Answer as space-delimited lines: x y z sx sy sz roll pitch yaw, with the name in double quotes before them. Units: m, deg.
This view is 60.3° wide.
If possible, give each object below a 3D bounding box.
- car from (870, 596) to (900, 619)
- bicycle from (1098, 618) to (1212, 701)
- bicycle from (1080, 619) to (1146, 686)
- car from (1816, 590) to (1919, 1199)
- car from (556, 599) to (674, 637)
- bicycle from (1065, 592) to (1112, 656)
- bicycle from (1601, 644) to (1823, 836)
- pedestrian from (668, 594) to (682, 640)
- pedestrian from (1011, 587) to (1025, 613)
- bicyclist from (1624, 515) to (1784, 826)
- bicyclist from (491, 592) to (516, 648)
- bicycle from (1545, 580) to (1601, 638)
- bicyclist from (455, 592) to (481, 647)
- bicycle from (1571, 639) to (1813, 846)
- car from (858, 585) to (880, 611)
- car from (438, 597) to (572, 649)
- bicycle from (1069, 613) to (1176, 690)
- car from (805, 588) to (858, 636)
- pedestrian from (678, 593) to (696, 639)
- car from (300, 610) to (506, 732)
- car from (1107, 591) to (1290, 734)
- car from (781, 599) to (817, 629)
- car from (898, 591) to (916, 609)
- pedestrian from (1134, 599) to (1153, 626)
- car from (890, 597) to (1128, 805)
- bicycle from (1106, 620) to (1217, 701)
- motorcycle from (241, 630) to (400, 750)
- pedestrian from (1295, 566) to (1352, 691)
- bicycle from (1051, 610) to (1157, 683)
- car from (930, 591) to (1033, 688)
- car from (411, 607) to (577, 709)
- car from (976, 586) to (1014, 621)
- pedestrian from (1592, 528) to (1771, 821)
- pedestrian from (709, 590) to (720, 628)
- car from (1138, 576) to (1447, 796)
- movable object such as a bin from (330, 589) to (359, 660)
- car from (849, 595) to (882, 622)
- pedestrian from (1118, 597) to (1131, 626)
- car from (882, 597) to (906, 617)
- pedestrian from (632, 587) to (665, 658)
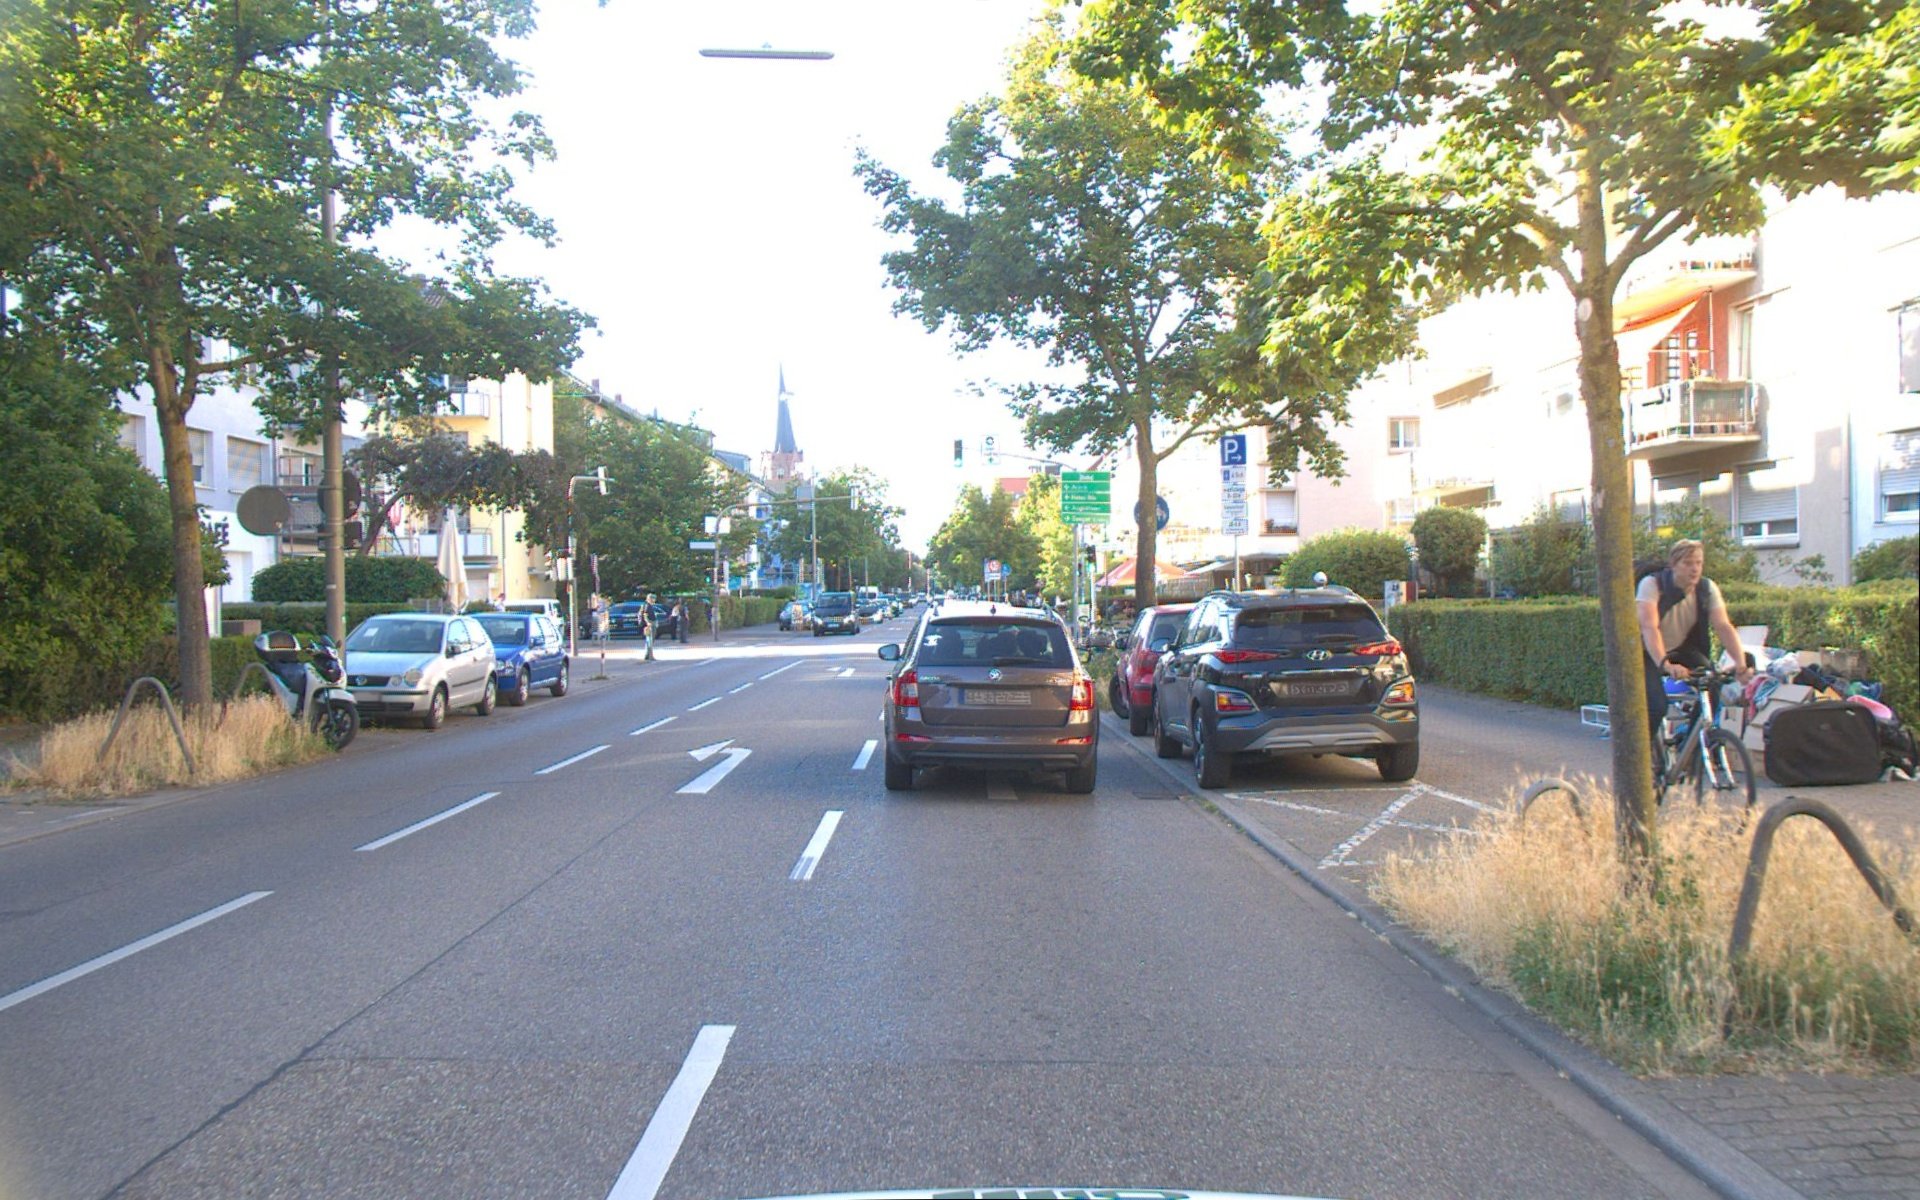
"car" -5.452 0.538 120.072 1.953 1.639 4.000 -1 0 0
"bicycle" 2.750 0.838 23.368 1.538 1.123 0.392 -1 0 0
"bicycle" 2.597 0.874 28.006 0.606 1.070 1.572 -1 0 25
"car" 3.112 0.698 2.140 1.674 1.506 4.267 -3 0 -1
"car" -14.366 0.743 69.011 4.540 1.562 1.861 0 0 -1
"bicycle" 2.465 0.455 31.979 0.492 1.167 1.956 -3 0 -6
"bicycle" 4.559 0.807 10.162 0.505 1.004 1.831 -1 0 -1
"pedestrian" -11.435 0.661 66.413 0.440 1.828 0.504 -1 0 0
"pedestrian" 3.923 0.025 111.429 0.661 1.734 0.800 -1 0 26
"bicyclist" 4.549 0.412 10.160 0.569 1.820 0.852 -1 0 -1
"bicyclist" -15.388 0.673 55.744 0.725 1.855 0.652 -1 0 -10
"bicycle" 13.142 0.197 35.500 0.512 1.204 1.796 -1 0 0
"bicyclist" -16.762 0.651 56.393 0.725 1.855 0.652 -1 0 -10
"bicycle" 4.467 0.819 10.271 0.546 1.094 2.079 -1 0 -1
"car" -8.868 -0.182 161.739 1.953 2.521 3.999 -1 0 -1
"car" -17.275 0.859 62.967 4.540 1.843 1.861 -1 0 -1
"bicycle" 2.630 0.833 26.756 1.651 1.127 0.517 -4 0 5
"car" -5.658 0.497 73.100 1.953 1.942 4.963 -3 0 -1
"pedestrian" -10.904 0.640 66.002 0.603 1.828 0.504 -1 0 0
"car" -7.563 0.909 22.820 1.561 1.496 3.803 1 0 -1
"car" 2.777 0.677 20.037 1.668 1.475 4.014 -3 0 1
"car" -8.272 0.727 85.144 1.491 1.482 3.584 -1 0 -1
"car" -6.337 0.031 197.486 1.953 2.049 4.000 -1 0 0
"pedestrian" 8.279 0.563 74.576 0.714 1.219 0.855 -1 0 0
"car" 0.318 0.736 14.227 1.737 1.515 4.310 0 0 -1
"bicycle" 2.909 0.872 23.958 1.538 1.123 0.501 -1 0 0
"motorcycle" -7.393 1.012 19.070 2.014 1.287 0.764 -1 0 38
"pedestrian" 5.342 0.409 24.340 0.648 1.779 0.773 -3 0 5
"bicycle" 2.588 0.831 29.716 1.796 1.178 0.684 -4 0 5
"car" 0.366 0.664 29.763 1.701 1.598 4.000 1 0 0
"car" -7.616 0.899 27.405 1.615 1.544 4.073 0 0 -1
"car" 1.917 0.187 89.571 1.952 1.803 4.001 1 0 2
"pedestrian" 4.458 0.442 10.270 0.739 1.739 0.776 -1 0 -1
"pedestrian" -9.999 0.348 67.403 0.294 1.530 0.640 -1 0 0
"car" 2.780 0.658 14.741 1.818 1.609 4.012 -3 0 -1
"movable object such as a bin" -12.778 0.504 34.334 0.384 1.452 0.575 -1 0 -2
"car" -5.819 0.534 102.508 1.793 1.607 3.999 -1 0 -1
"pedestrian" 7.509 0.515 75.356 0.489 1.325 0.506 -1 0 -4
"car" -5.273 0.547 133.012 1.751 1.598 4.000 1 0 0
"pedestrian" -9.107 0.655 48.341 0.764 2.022 0.821 -1 0 0
